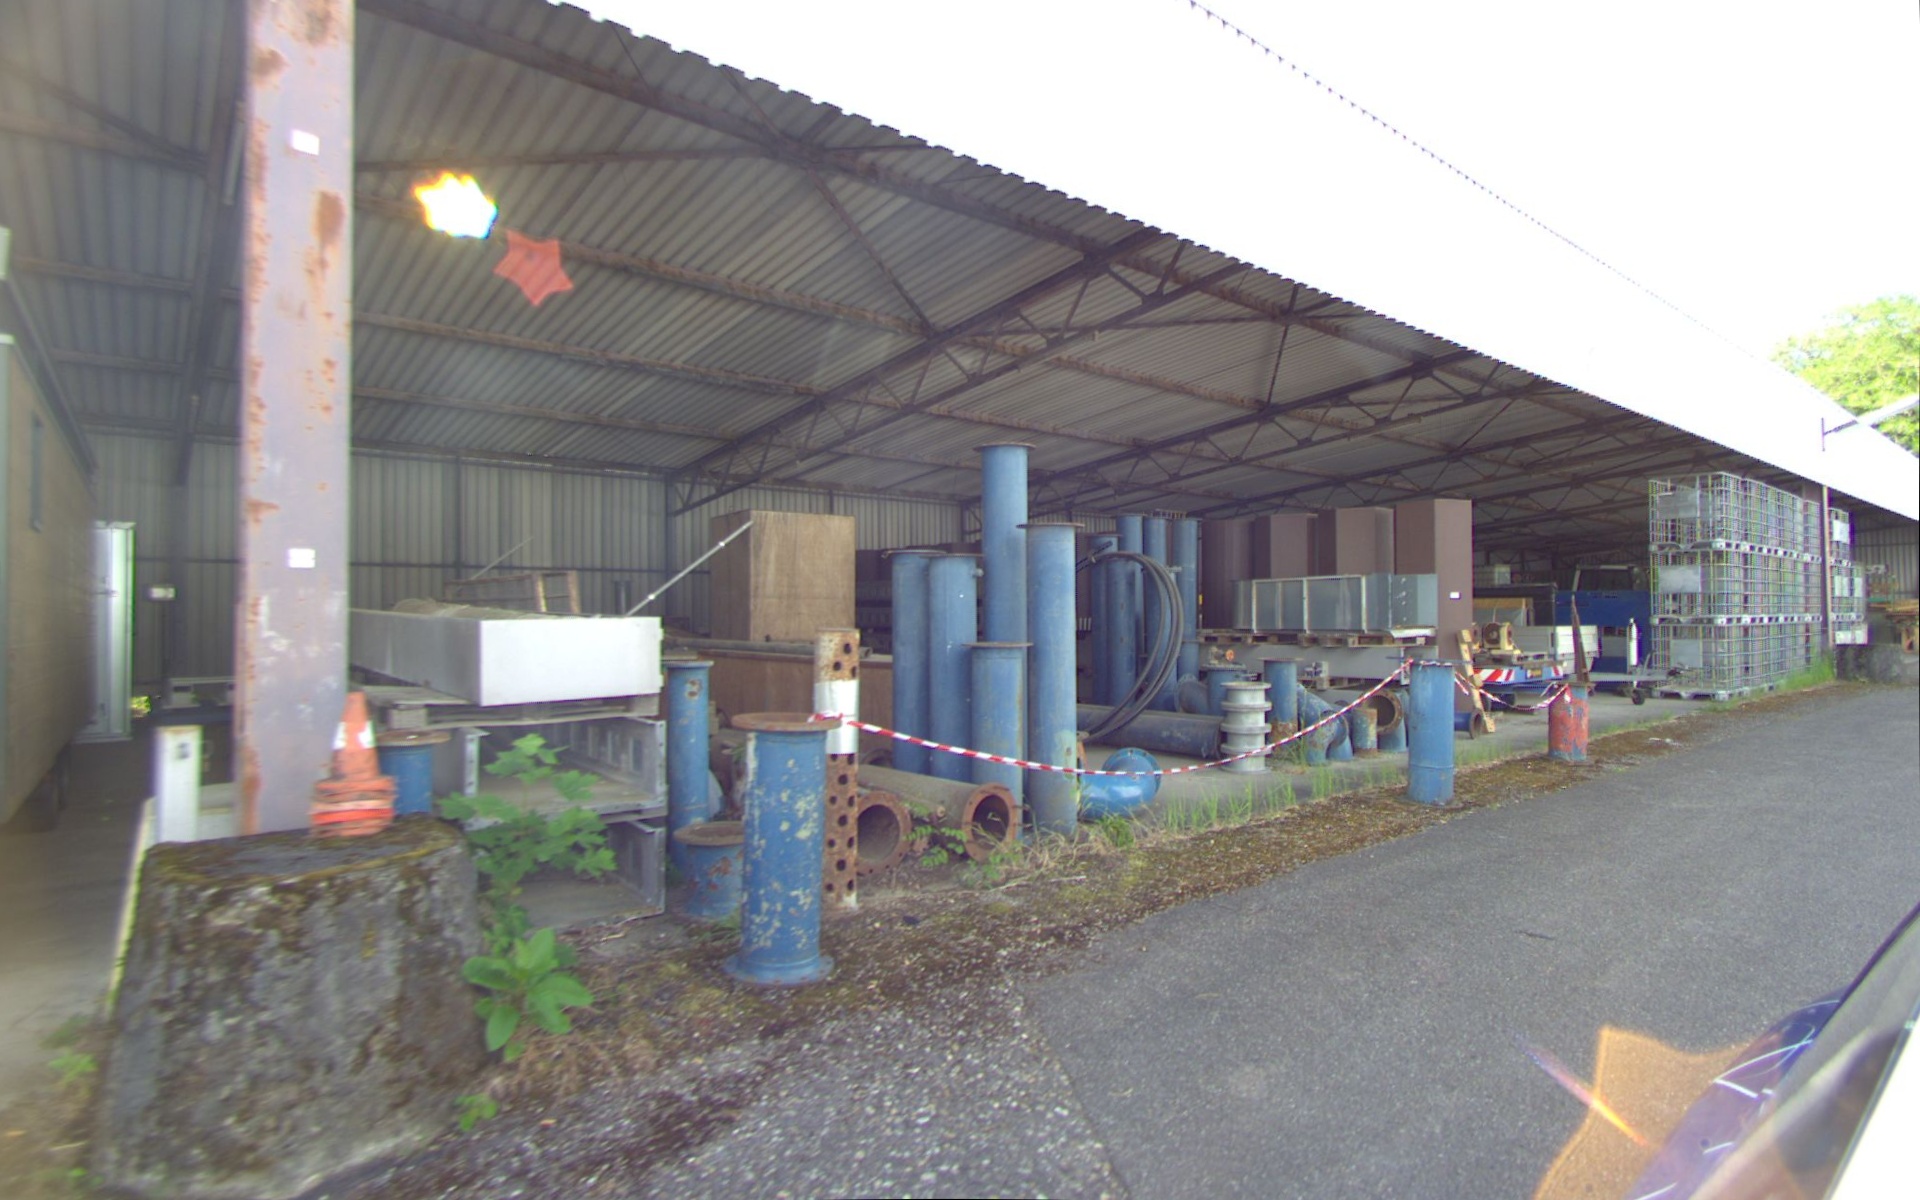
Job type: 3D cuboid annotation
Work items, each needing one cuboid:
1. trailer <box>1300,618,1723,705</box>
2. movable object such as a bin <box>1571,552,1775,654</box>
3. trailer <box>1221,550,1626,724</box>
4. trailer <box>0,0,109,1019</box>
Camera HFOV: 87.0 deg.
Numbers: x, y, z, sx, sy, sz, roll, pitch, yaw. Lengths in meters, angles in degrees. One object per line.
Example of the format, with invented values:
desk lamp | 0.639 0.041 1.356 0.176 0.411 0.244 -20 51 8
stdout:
trailer | 8.666 0.878 16.494 1.974 1.147 5.743 0 -1 -41
movable object such as a bin | 20.973 0.093 29.905 1.965 2.757 4.622 2 -1 -41
trailer | 6.264 0.418 14.267 2.009 2.022 4.831 0 0 -37
trailer | -6.770 -0.271 5.765 2.627 3.337 10.316 0 0 -39
